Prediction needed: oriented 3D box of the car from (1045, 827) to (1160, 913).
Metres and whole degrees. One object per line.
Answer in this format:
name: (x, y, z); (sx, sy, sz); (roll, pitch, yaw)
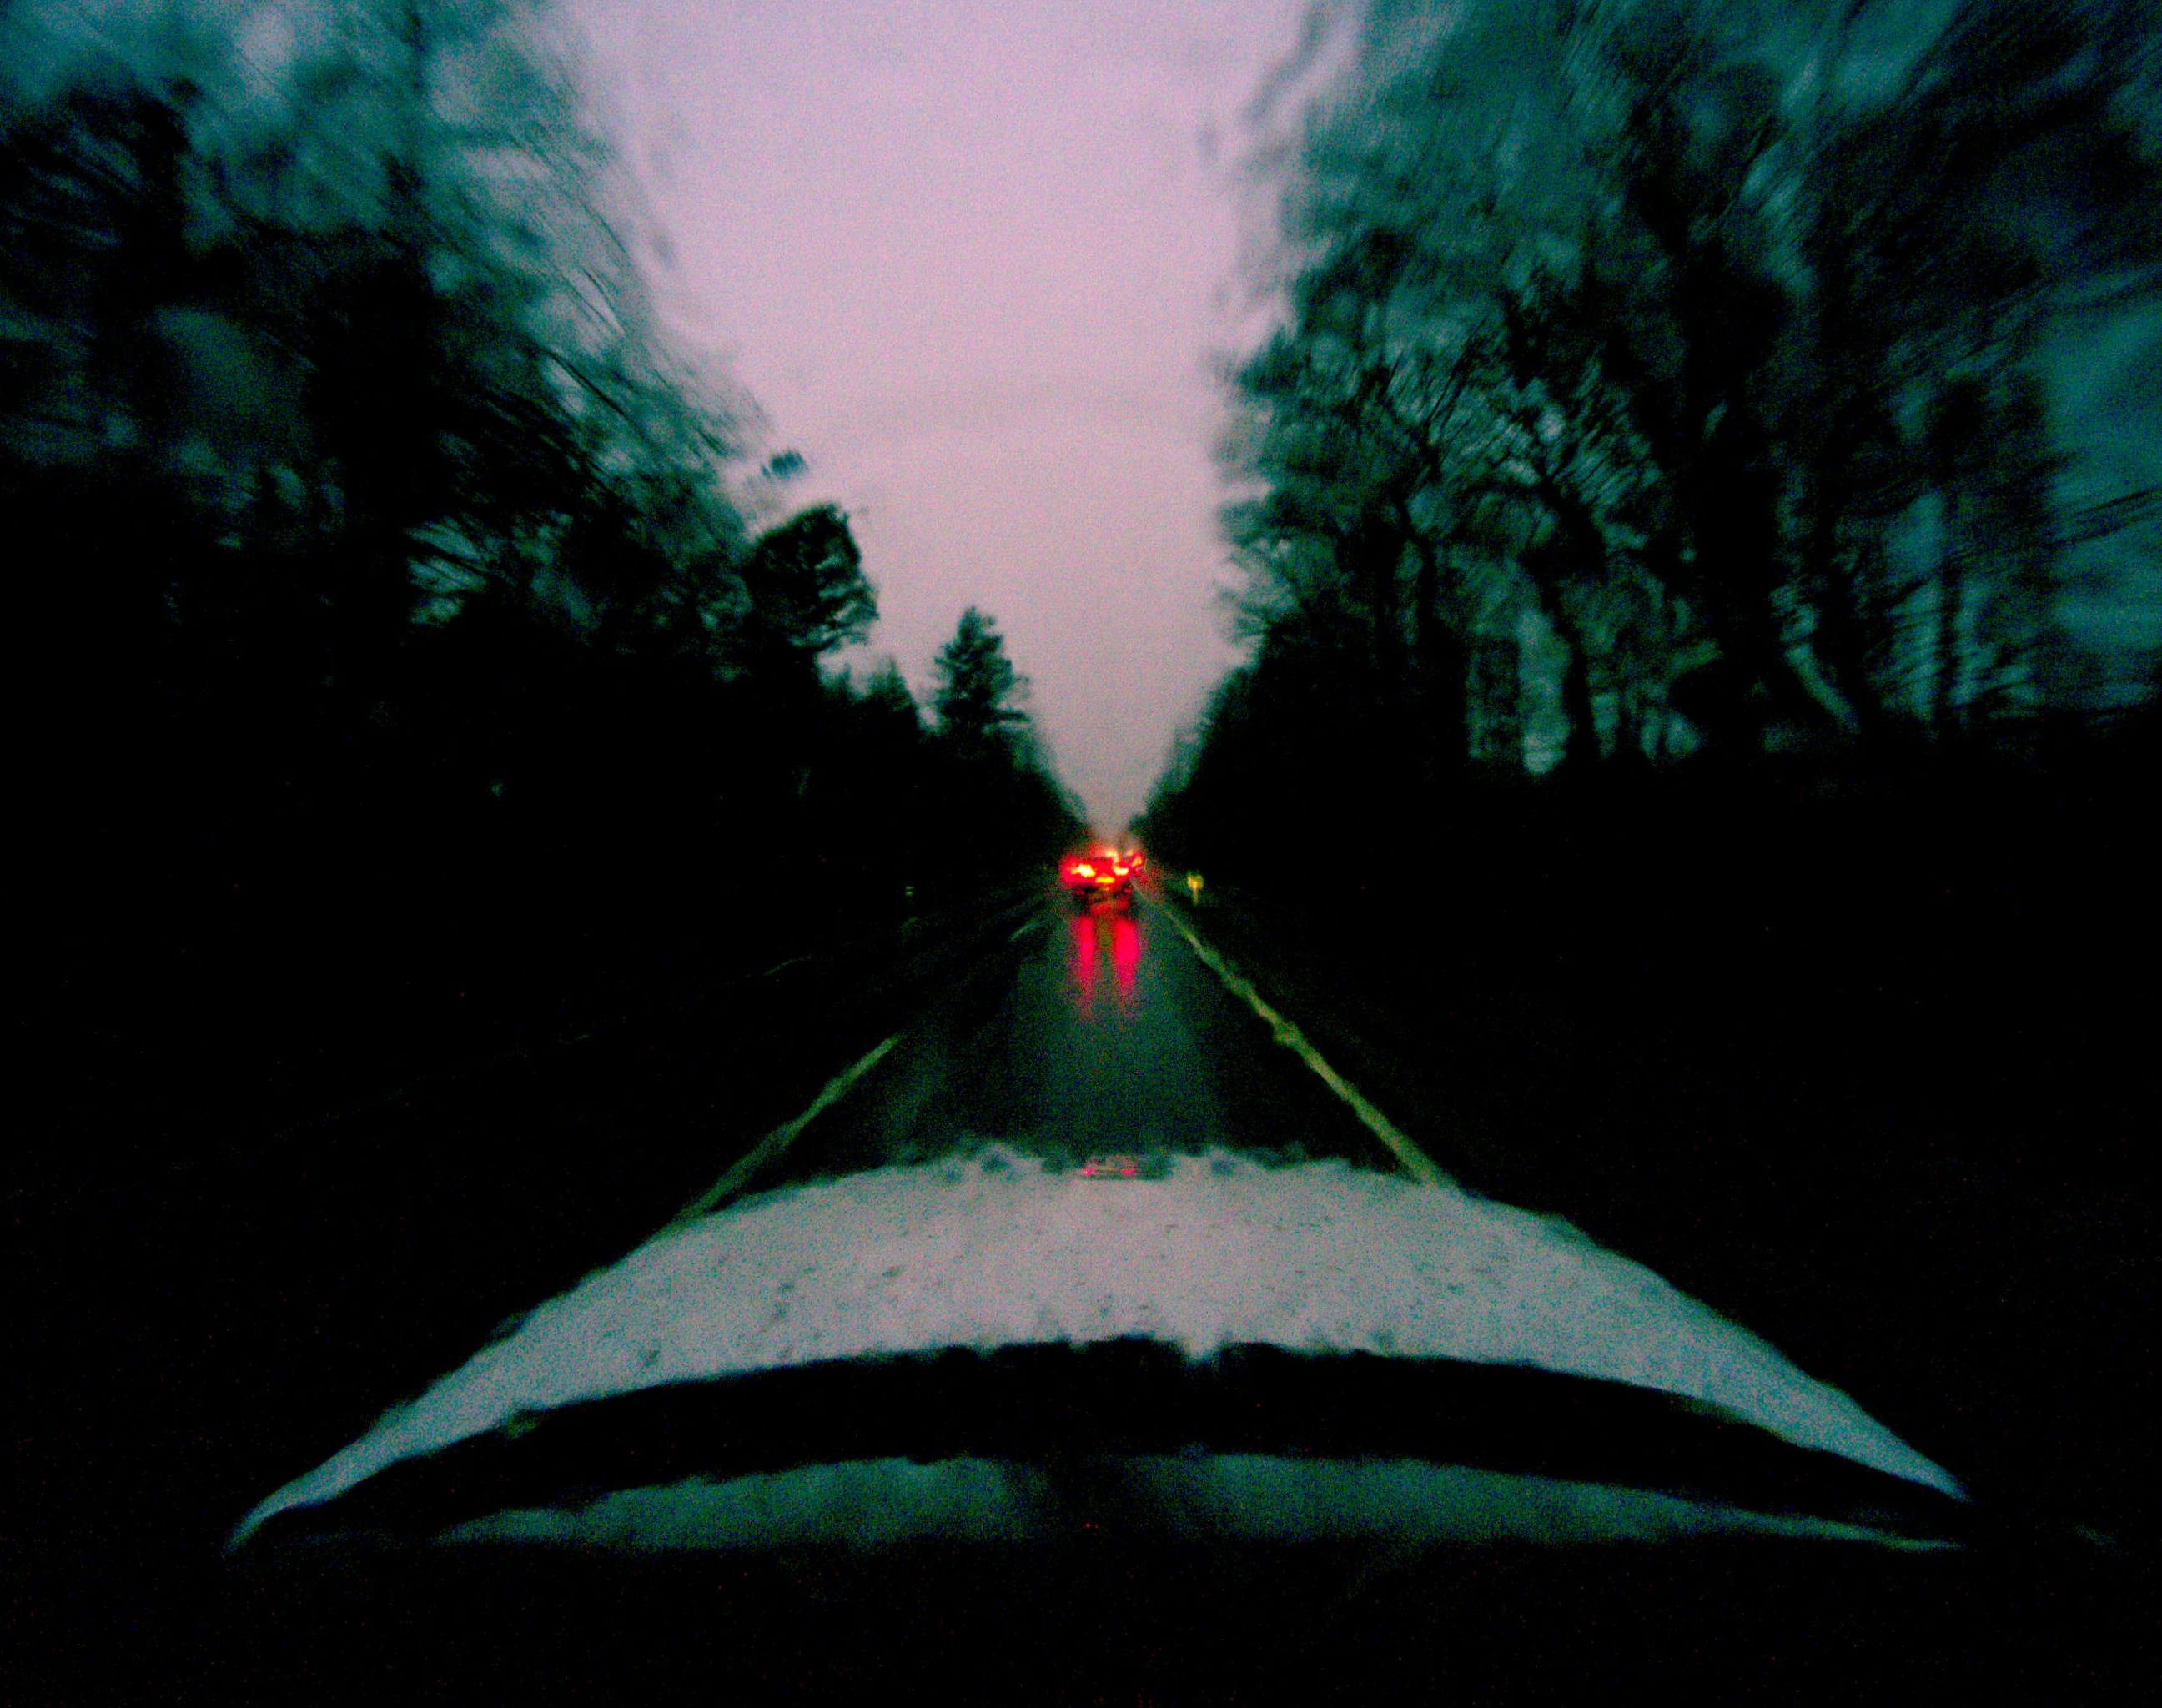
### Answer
car: (0.724, 0.446, 25.969); (3.171, 2.386, 6.640); (0, 0, 2)
